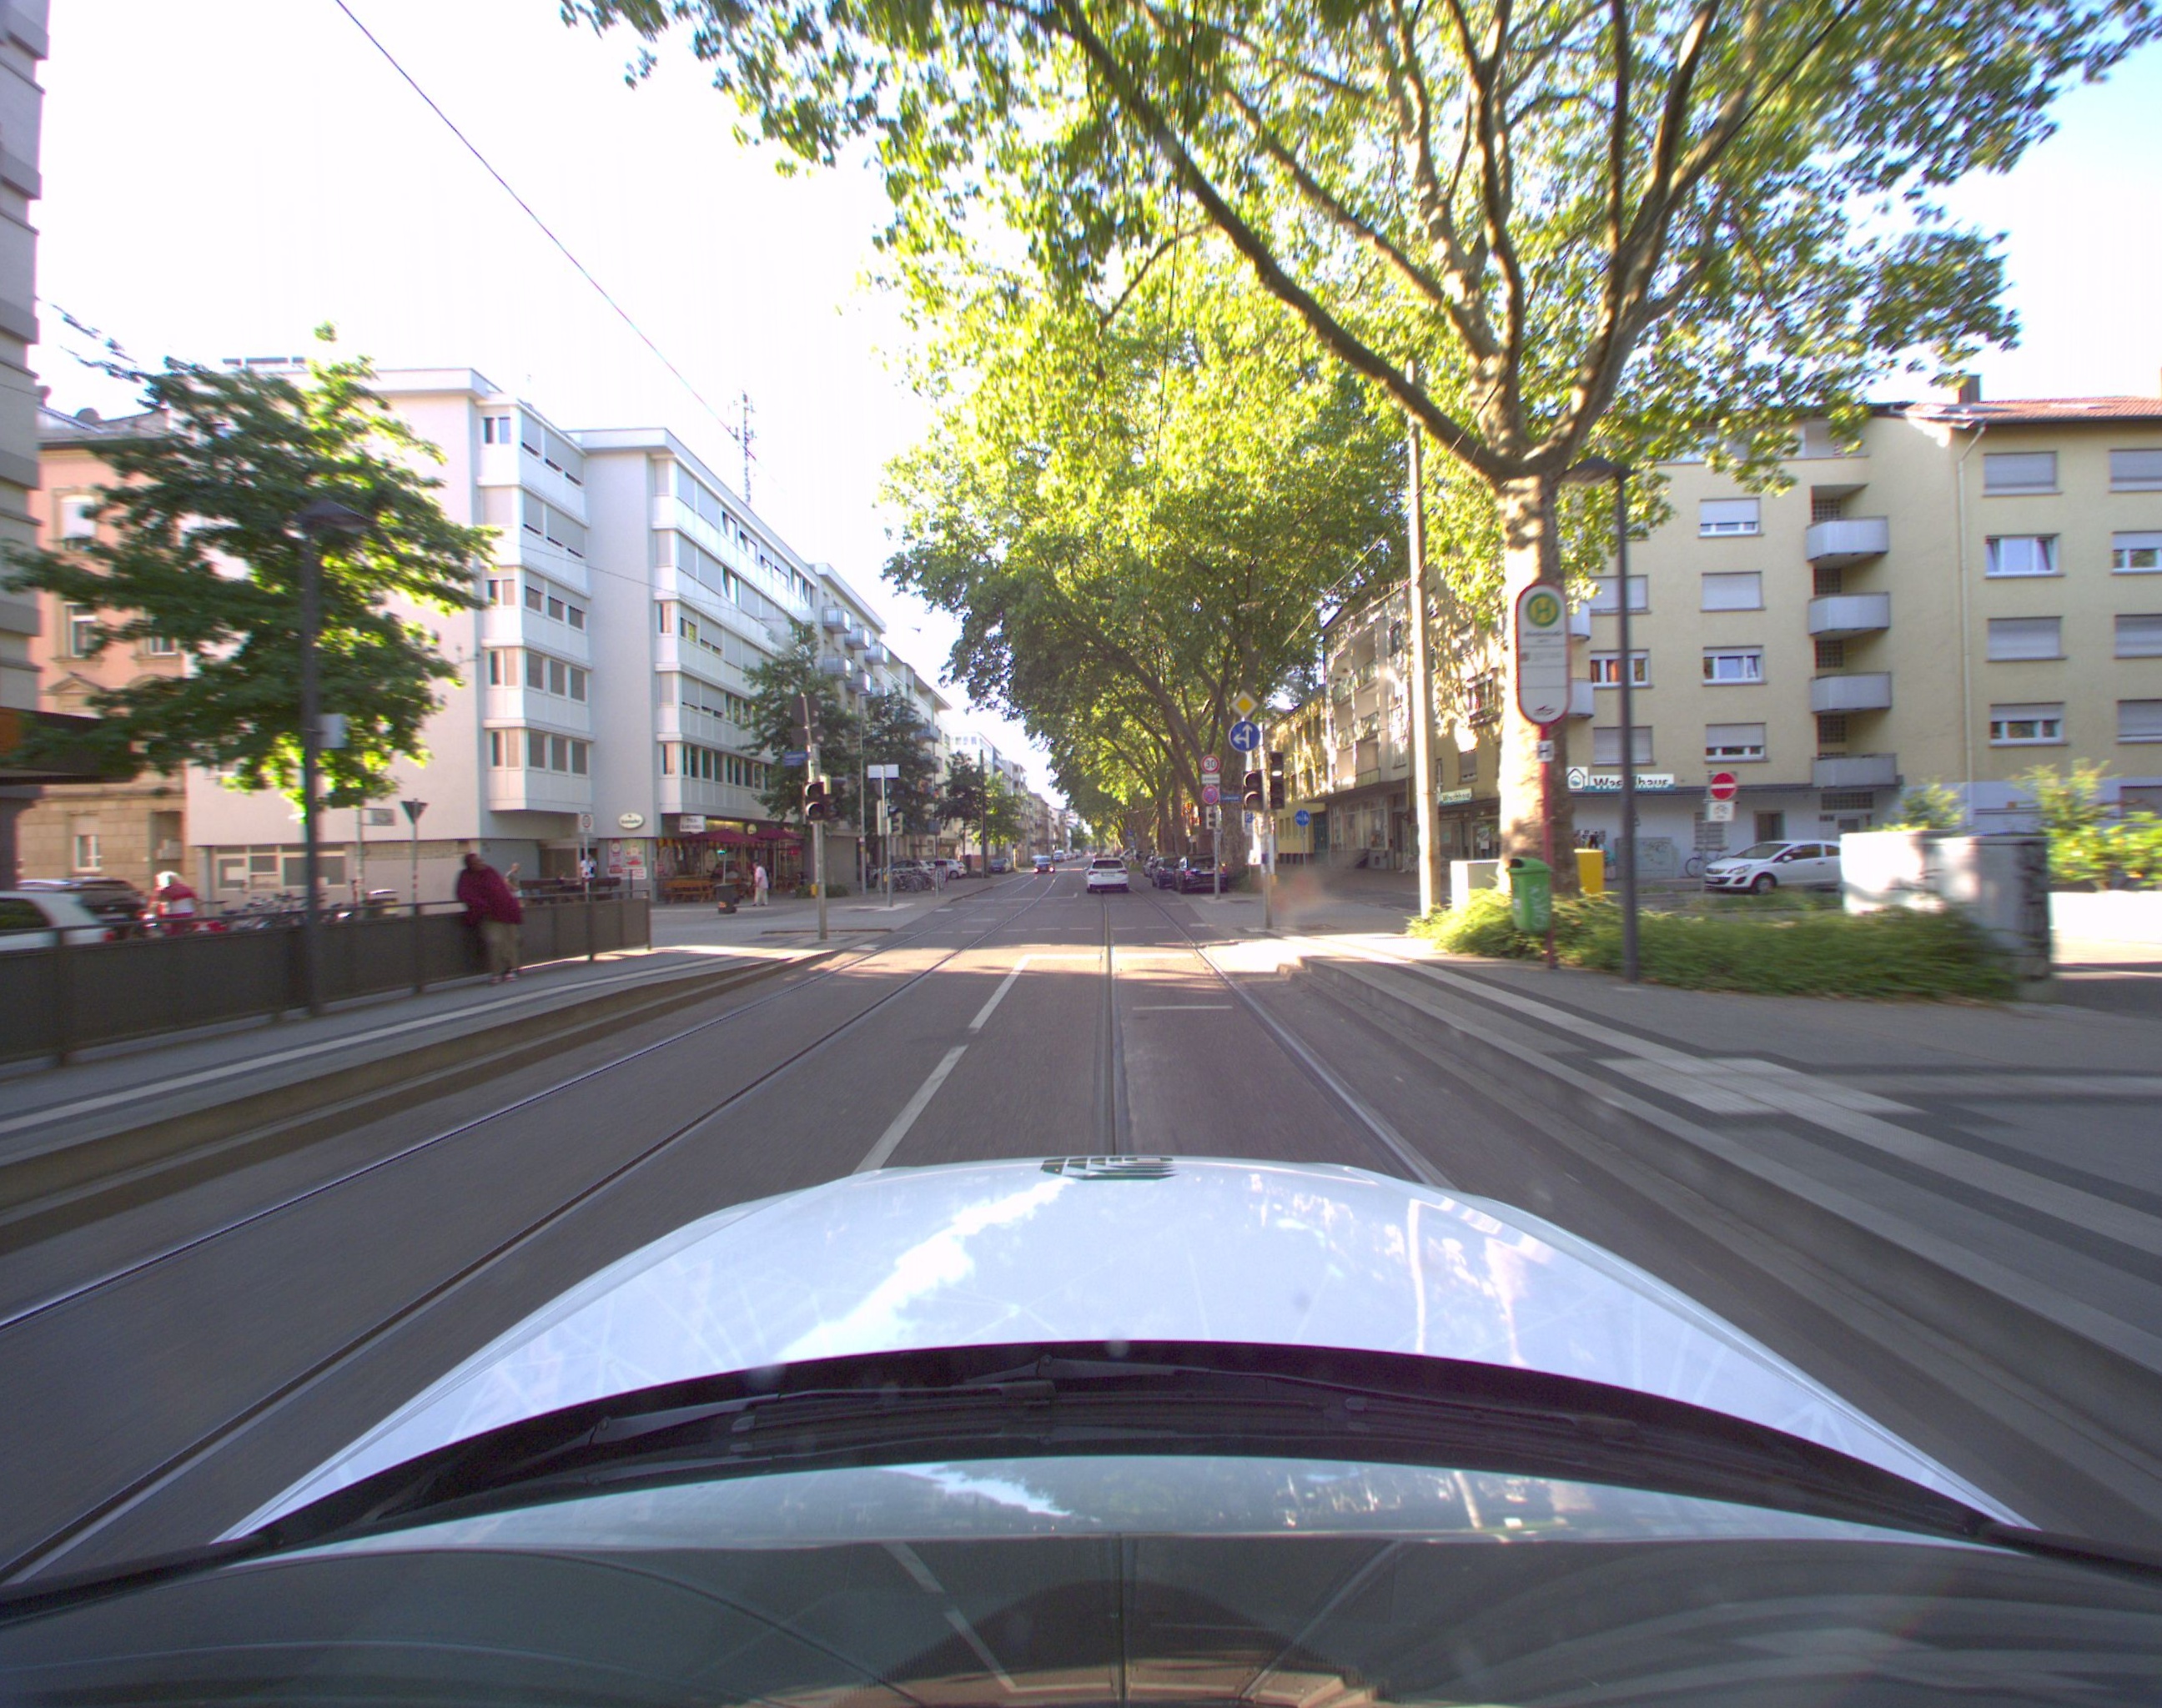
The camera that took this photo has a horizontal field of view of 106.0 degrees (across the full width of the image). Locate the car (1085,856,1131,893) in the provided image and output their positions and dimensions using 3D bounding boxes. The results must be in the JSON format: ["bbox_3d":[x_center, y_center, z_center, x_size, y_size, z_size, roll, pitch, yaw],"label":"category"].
[{"bbox_3d":[1.087,0.819,34.252,1.756,1.384,4.000,-2,0,0],"label":"car"}]

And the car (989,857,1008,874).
[{"bbox_3d":[-7.734,1.082,76.460,1.710,1.464,3.992,2,0,-5],"label":"car"}]

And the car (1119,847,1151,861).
[{"bbox_3d":[10.560,-0.002,160.451,6.111,2.635,2.528,-2,0,-1],"label":"car"}]

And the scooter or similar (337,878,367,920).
[{"bbox_3d":[-22.954,1.403,25.652,0.500,1.259,1.293,-1,0,-34],"label":"scooter or similar"}]

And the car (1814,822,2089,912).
[{"bbox_3d":[18.505,0.271,17.470,3.848,1.693,1.866,-2,0,1],"label":"car"}]

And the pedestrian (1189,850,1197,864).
[{"bbox_3d":[15.469,0.423,112.512,0.764,1.866,1.187,-2,0,-2],"label":"pedestrian"}]

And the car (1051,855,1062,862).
[{"bbox_3d":[-5.197,0.959,170.608,1.986,1.530,4.002,-2,0,2],"label":"car"}]

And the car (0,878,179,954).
[{"bbox_3d":[-23.308,1.379,18.169,4.264,1.504,1.896,-2,0,2],"label":"car"}]

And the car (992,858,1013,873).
[{"bbox_3d":[-7.806,1.114,81.249,1.709,1.464,4.373,2,0,-2],"label":"car"}]

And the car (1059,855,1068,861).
[{"bbox_3d":[-4.251,1.006,202.660,1.986,1.530,4.002,-2,0,2],"label":"car"}]

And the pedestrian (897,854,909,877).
[{"bbox_3d":[-13.461,0.860,61.607,0.661,1.691,0.748,-1,0,0],"label":"pedestrian"}]

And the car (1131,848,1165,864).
[{"bbox_3d":[9.352,0.231,113.456,4.530,2.076,2.000,-2,0,-1],"label":"car"}]

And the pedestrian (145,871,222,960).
[{"bbox_3d":[-16.429,1.105,14.917,0.718,1.556,0.730,-2,0,24],"label":"pedestrian"}]

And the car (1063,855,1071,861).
[{"bbox_3d":[-3.722,1.115,216.619,1.986,1.530,4.002,-2,0,2],"label":"car"}]

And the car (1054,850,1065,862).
[{"bbox_3d":[-4.801,0.467,182.334,2.170,2.597,4.951,-2,0,2],"label":"car"}]

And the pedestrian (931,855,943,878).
[{"bbox_3d":[-11.049,0.955,62.429,0.761,1.691,0.794,-1,0,0],"label":"pedestrian"}]

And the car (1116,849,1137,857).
[{"bbox_3d":[13.337,-0.228,239.286,6.111,2.282,2.528,-2,0,-1],"label":"car"}]

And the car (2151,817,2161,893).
[{"bbox_3d":[26.208,-0.040,17.523,3.848,1.693,1.866,-2,0,1],"label":"car"}]

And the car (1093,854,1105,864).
[{"bbox_3d":[2.820,0.800,124.329,1.755,1.475,4.002,-2,0,2],"label":"car"}]

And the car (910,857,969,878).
[{"bbox_3d":[-10.394,1.015,60.038,4.001,1.475,1.851,-1,-1,-1],"label":"car"}]

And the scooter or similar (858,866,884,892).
[{"bbox_3d":[-9.754,1.172,37.887,1.076,1.176,0.498,0,-1,0],"label":"scooter or similar"}]

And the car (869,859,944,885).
[{"bbox_3d":[-10.342,1.057,48.423,3.997,1.475,1.852,-1,-1,2],"label":"car"}]

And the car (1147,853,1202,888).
[{"bbox_3d":[4.222,0.731,37.368,1.859,1.437,4.223,-3,0,-2],"label":"car"}]

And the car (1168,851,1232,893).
[{"bbox_3d":[4.571,0.661,31.998,1.759,1.462,5.011,-2,0,0],"label":"car"}]

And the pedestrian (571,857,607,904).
[{"bbox_3d":[-17.785,0.946,29.469,0.741,1.659,0.772,-2,0,16],"label":"pedestrian"}]

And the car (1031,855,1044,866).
[{"bbox_3d":[-6.735,0.953,125.701,1.697,1.650,4.241,1,0,0],"label":"car"}]

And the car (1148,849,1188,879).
[{"bbox_3d":[5.147,0.620,48.920,1.852,1.603,4.781,-3,-1,0],"label":"car"}]

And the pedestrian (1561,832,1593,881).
[{"bbox_3d":[17.344,0.089,28.479,0.704,1.682,0.656,-2,0,-26],"label":"pedestrian"}]

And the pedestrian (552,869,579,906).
[{"bbox_3d":[-18.011,1.166,28.442,0.752,1.241,0.761,-2,0,-32],"label":"pedestrian"}]

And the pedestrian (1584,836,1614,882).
[{"bbox_3d":[17.403,0.166,27.372,0.694,1.539,0.695,-2,0,42],"label":"pedestrian"}]

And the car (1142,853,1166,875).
[{"bbox_3d":[5.248,0.710,58.865,1.557,1.519,2.913,-3,-1,4],"label":"car"}]

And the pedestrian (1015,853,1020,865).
[{"bbox_3d":[-10.214,0.831,130.537,0.661,1.826,0.965,-1,0,0],"label":"pedestrian"}]

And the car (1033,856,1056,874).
[{"bbox_3d":[-3.260,0.985,73.912,1.865,1.590,4.146,1,0,0],"label":"car"}]

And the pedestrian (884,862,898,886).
[{"bbox_3d":[-10.491,1.103,45.072,0.713,1.297,0.744,-2,0,-13],"label":"pedestrian"}]

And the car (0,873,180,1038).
[{"bbox_3d":[-12.036,1.097,7.794,1.871,1.651,4.358,-2,0,1],"label":"car"}]

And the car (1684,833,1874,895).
[{"bbox_3d":[19.891,0.249,23.337,3.848,1.552,1.867,-2,2,1],"label":"car"}]

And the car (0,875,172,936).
[{"bbox_3d":[-29.120,1.458,23.359,3.972,1.581,1.891,-2,0,1],"label":"car"}]
